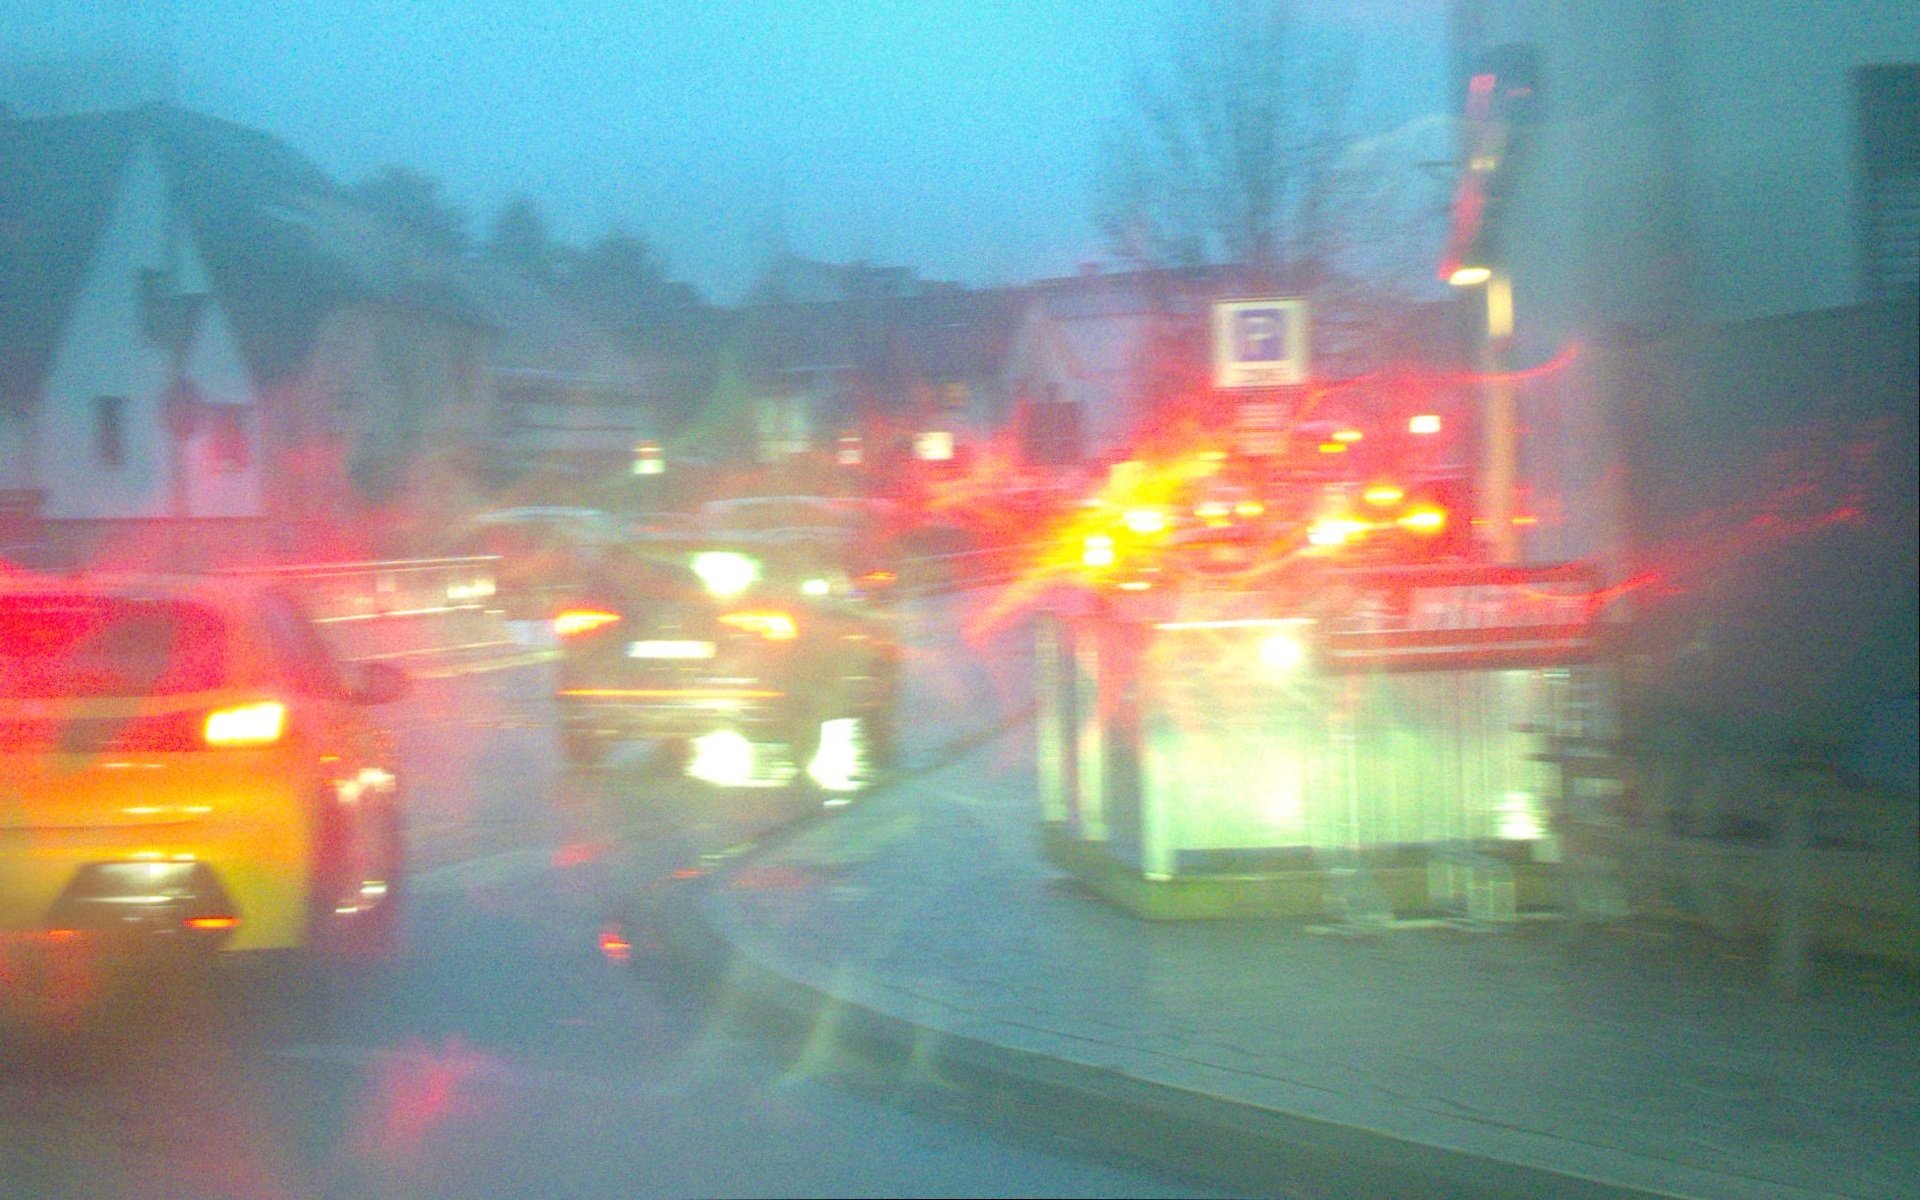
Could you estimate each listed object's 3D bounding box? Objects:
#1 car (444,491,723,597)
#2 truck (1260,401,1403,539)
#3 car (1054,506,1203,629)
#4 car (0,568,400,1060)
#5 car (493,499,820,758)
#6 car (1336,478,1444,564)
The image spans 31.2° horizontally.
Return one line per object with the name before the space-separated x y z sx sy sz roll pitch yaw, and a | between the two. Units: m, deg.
car | -6.279 -0.941 57.560 4.308 1.634 1.846 -1 2 7
truck | 8.638 -3.020 79.364 2.716 3.000 5.990 -1 2 11
car | 2.501 -0.502 50.177 1.722 1.626 3.999 -1 2 9
car | -2.928 0.610 11.996 1.709 1.417 4.013 -1 1 -7
car | -2.083 0.133 24.689 1.916 1.609 3.951 -2 2 1
car | 7.940 -1.475 63.315 1.691 1.462 3.717 -1 2 11
